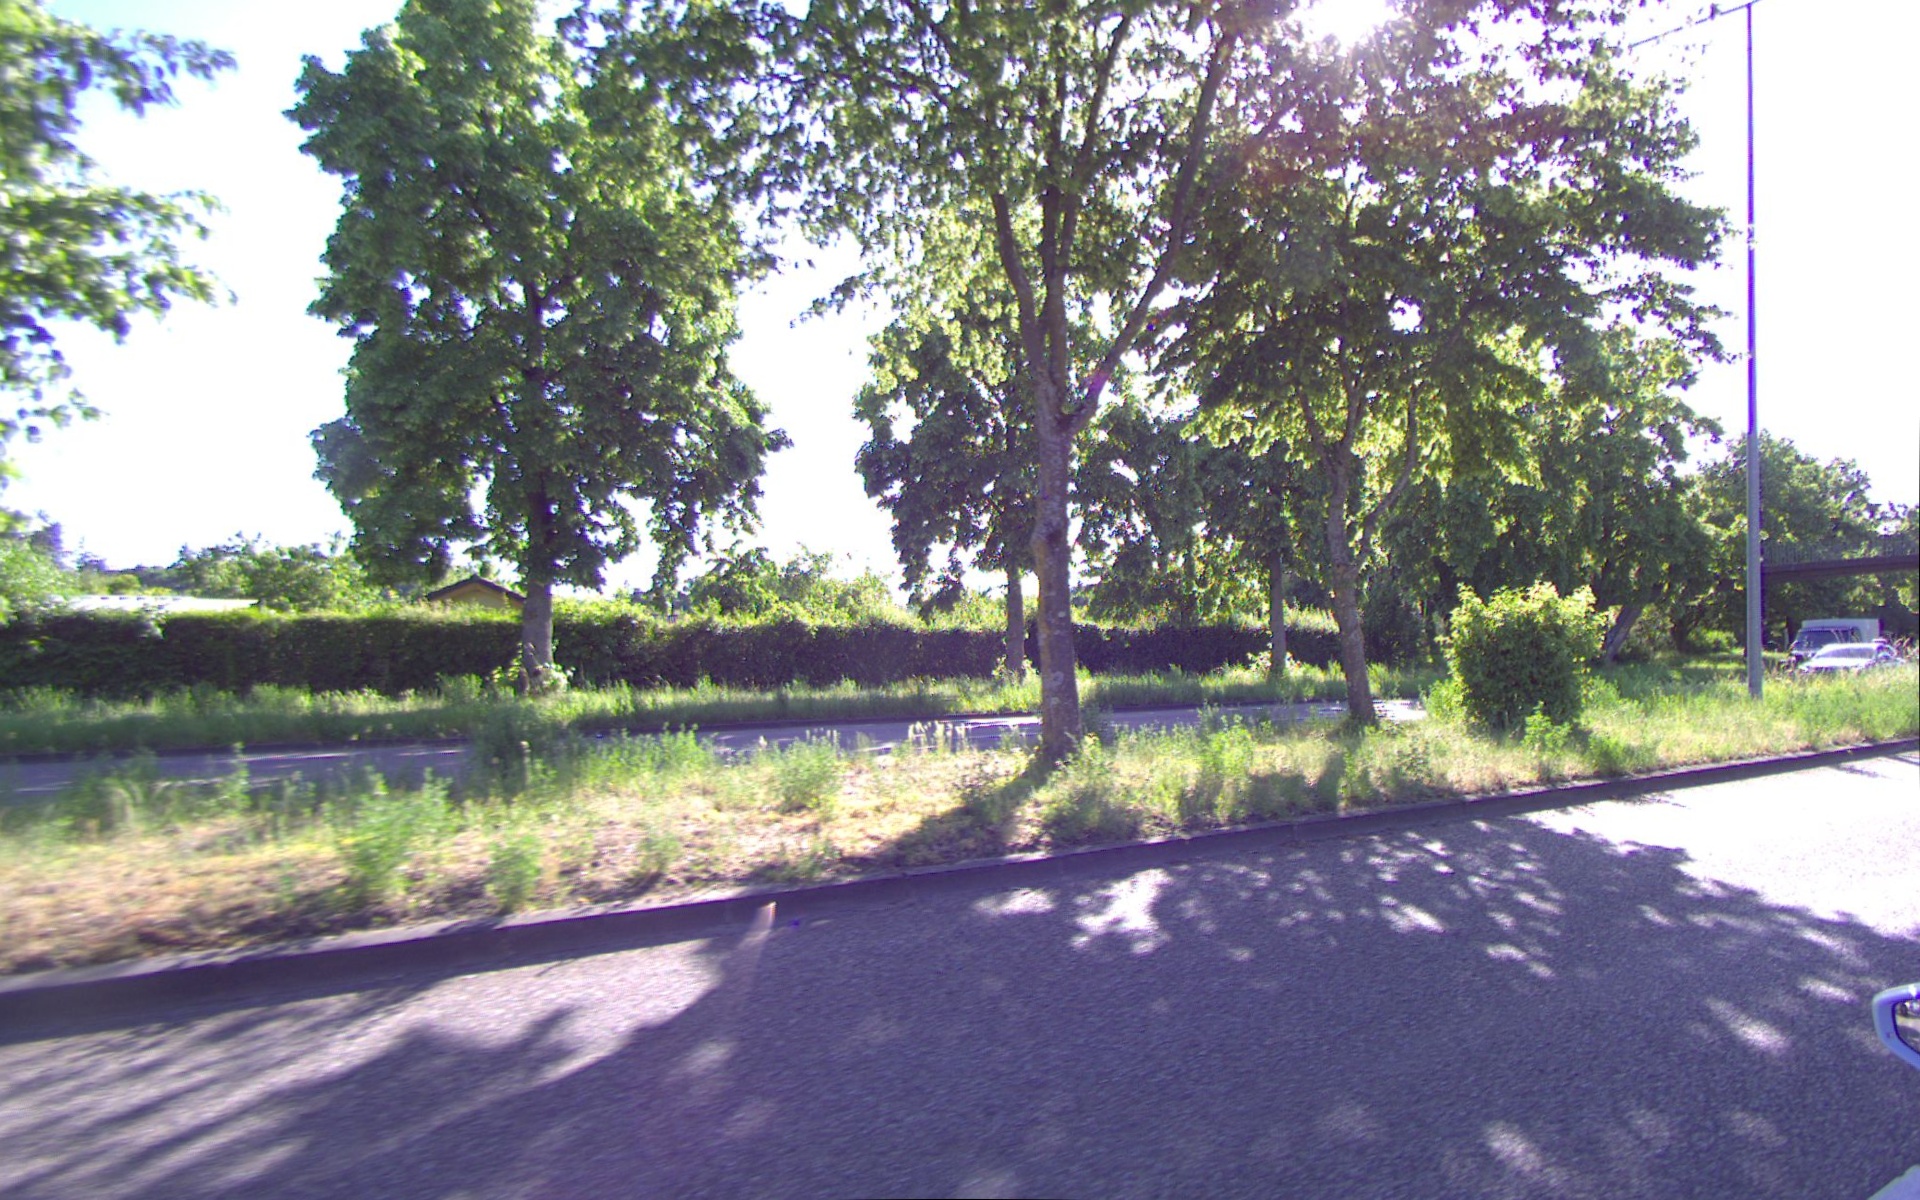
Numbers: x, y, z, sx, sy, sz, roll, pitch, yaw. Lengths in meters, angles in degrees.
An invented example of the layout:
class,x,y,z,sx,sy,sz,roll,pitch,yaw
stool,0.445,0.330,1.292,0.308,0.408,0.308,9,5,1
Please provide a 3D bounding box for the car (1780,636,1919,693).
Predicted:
class,x,y,z,sx,sy,sz,roll,pitch,yaw
car,27.766,1.983,31.237,5.514,1.626,1.846,2,-4,-33

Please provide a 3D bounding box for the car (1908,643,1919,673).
class,x,y,z,sx,sy,sz,roll,pitch,yaw
car,54.237,3.208,55.437,4.323,1.626,1.845,2,-4,-34

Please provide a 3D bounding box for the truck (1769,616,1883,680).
class,x,y,z,sx,sy,sz,roll,pitch,yaw
truck,36.797,2.047,42.637,5.682,2.545,2.160,2,-4,-34
